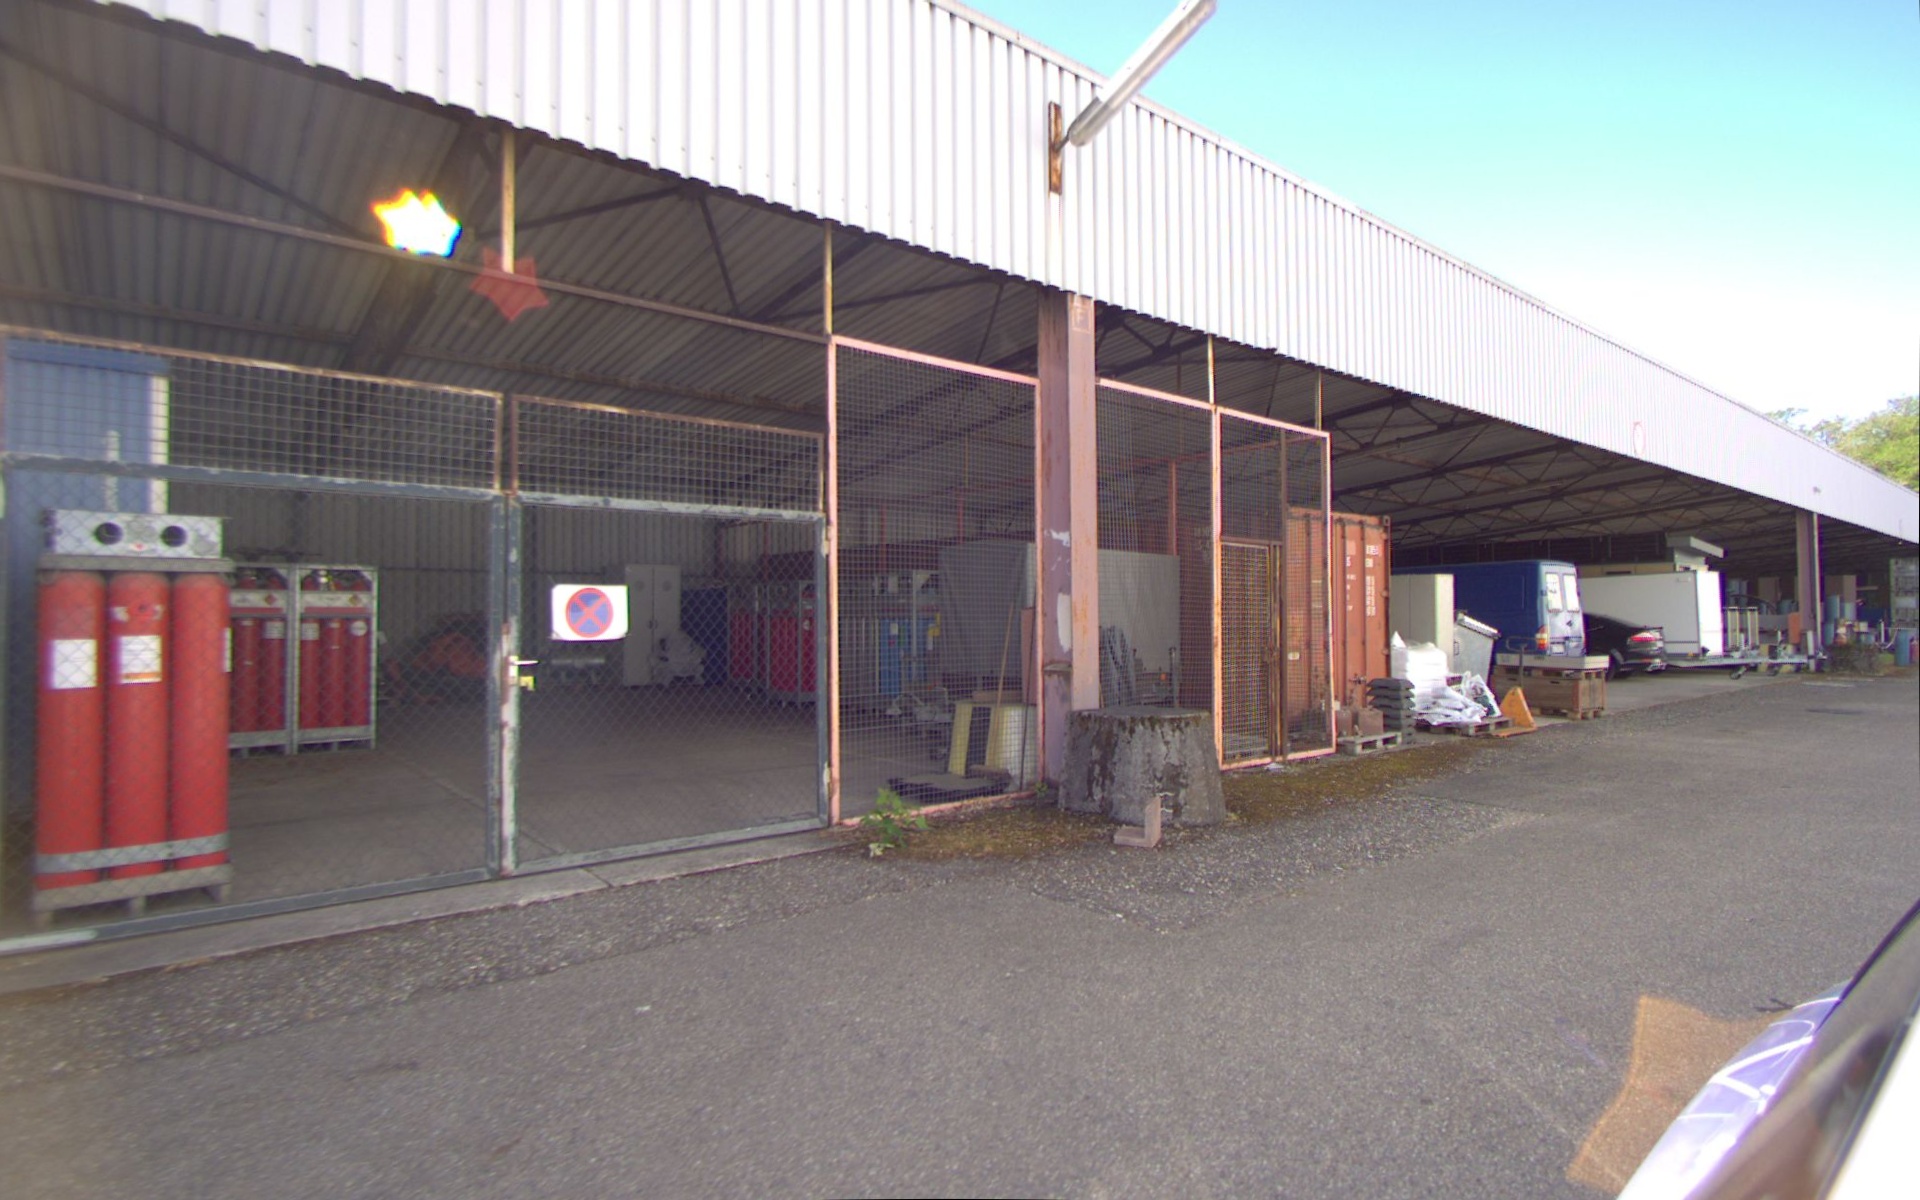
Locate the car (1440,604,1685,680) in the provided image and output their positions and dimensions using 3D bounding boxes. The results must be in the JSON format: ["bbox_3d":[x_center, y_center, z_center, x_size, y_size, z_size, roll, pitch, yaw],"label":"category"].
[{"bbox_3d":[13.210,0.868,22.398,1.746,1.515,4.335,1,-1,-41],"label":"car"}]

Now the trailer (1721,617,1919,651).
[{"bbox_3d":[31.841,1.212,37.269,1.993,1.134,5.832,1,-1,-40],"label":"trailer"}]

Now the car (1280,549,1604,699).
[{"bbox_3d":[8.626,0.426,18.561,1.964,2.355,4.989,1,-2,-39],"label":"car"}]

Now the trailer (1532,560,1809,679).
[{"bbox_3d":[16.006,0.430,23.079,1.792,2.422,4.828,1,-1,-34],"label":"trailer"}]

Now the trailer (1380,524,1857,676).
[{"bbox_3d":[16.495,0.062,26.454,2.802,3.257,10.057,1,-1,-39],"label":"trailer"}]

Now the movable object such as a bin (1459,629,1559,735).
[{"bbox_3d":[6.609,0.955,12.173,1.214,1.179,0.583,1,-1,-36],"label":"movable object such as a bin"}]

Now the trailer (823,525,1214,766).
[{"bbox_3d":[0.740,0.414,10.764,4.027,2.085,1.858,1,-1,-41],"label":"trailer"}]

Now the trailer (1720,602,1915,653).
[{"bbox_3d":[29.503,0.913,34.940,1.993,1.649,4.875,1,-1,-40],"label":"trailer"}]
